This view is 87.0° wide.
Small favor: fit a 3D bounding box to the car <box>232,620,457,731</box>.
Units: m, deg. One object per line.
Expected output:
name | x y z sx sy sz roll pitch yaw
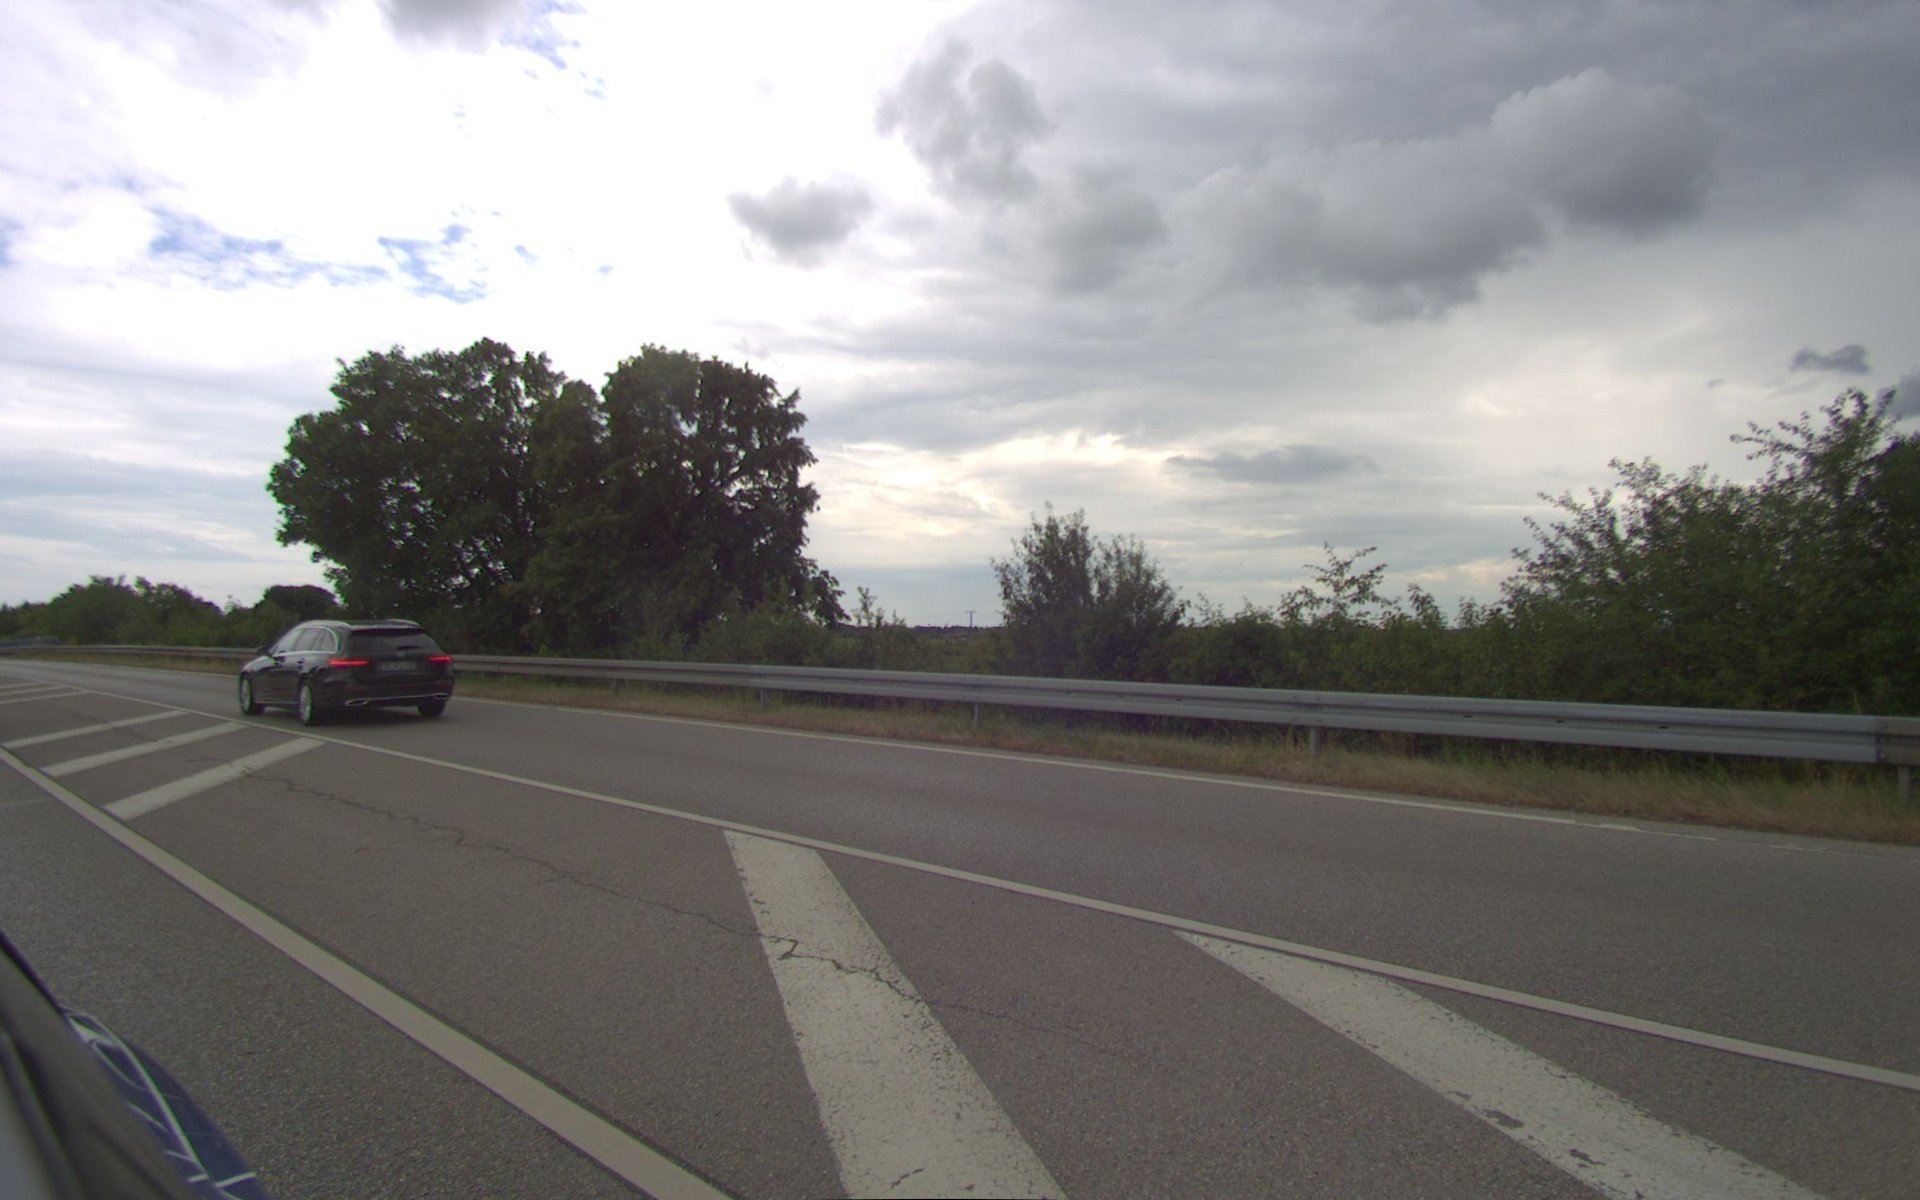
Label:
car | -9.334 1.040 15.201 4.255 1.440 1.654 -2 -1 40
